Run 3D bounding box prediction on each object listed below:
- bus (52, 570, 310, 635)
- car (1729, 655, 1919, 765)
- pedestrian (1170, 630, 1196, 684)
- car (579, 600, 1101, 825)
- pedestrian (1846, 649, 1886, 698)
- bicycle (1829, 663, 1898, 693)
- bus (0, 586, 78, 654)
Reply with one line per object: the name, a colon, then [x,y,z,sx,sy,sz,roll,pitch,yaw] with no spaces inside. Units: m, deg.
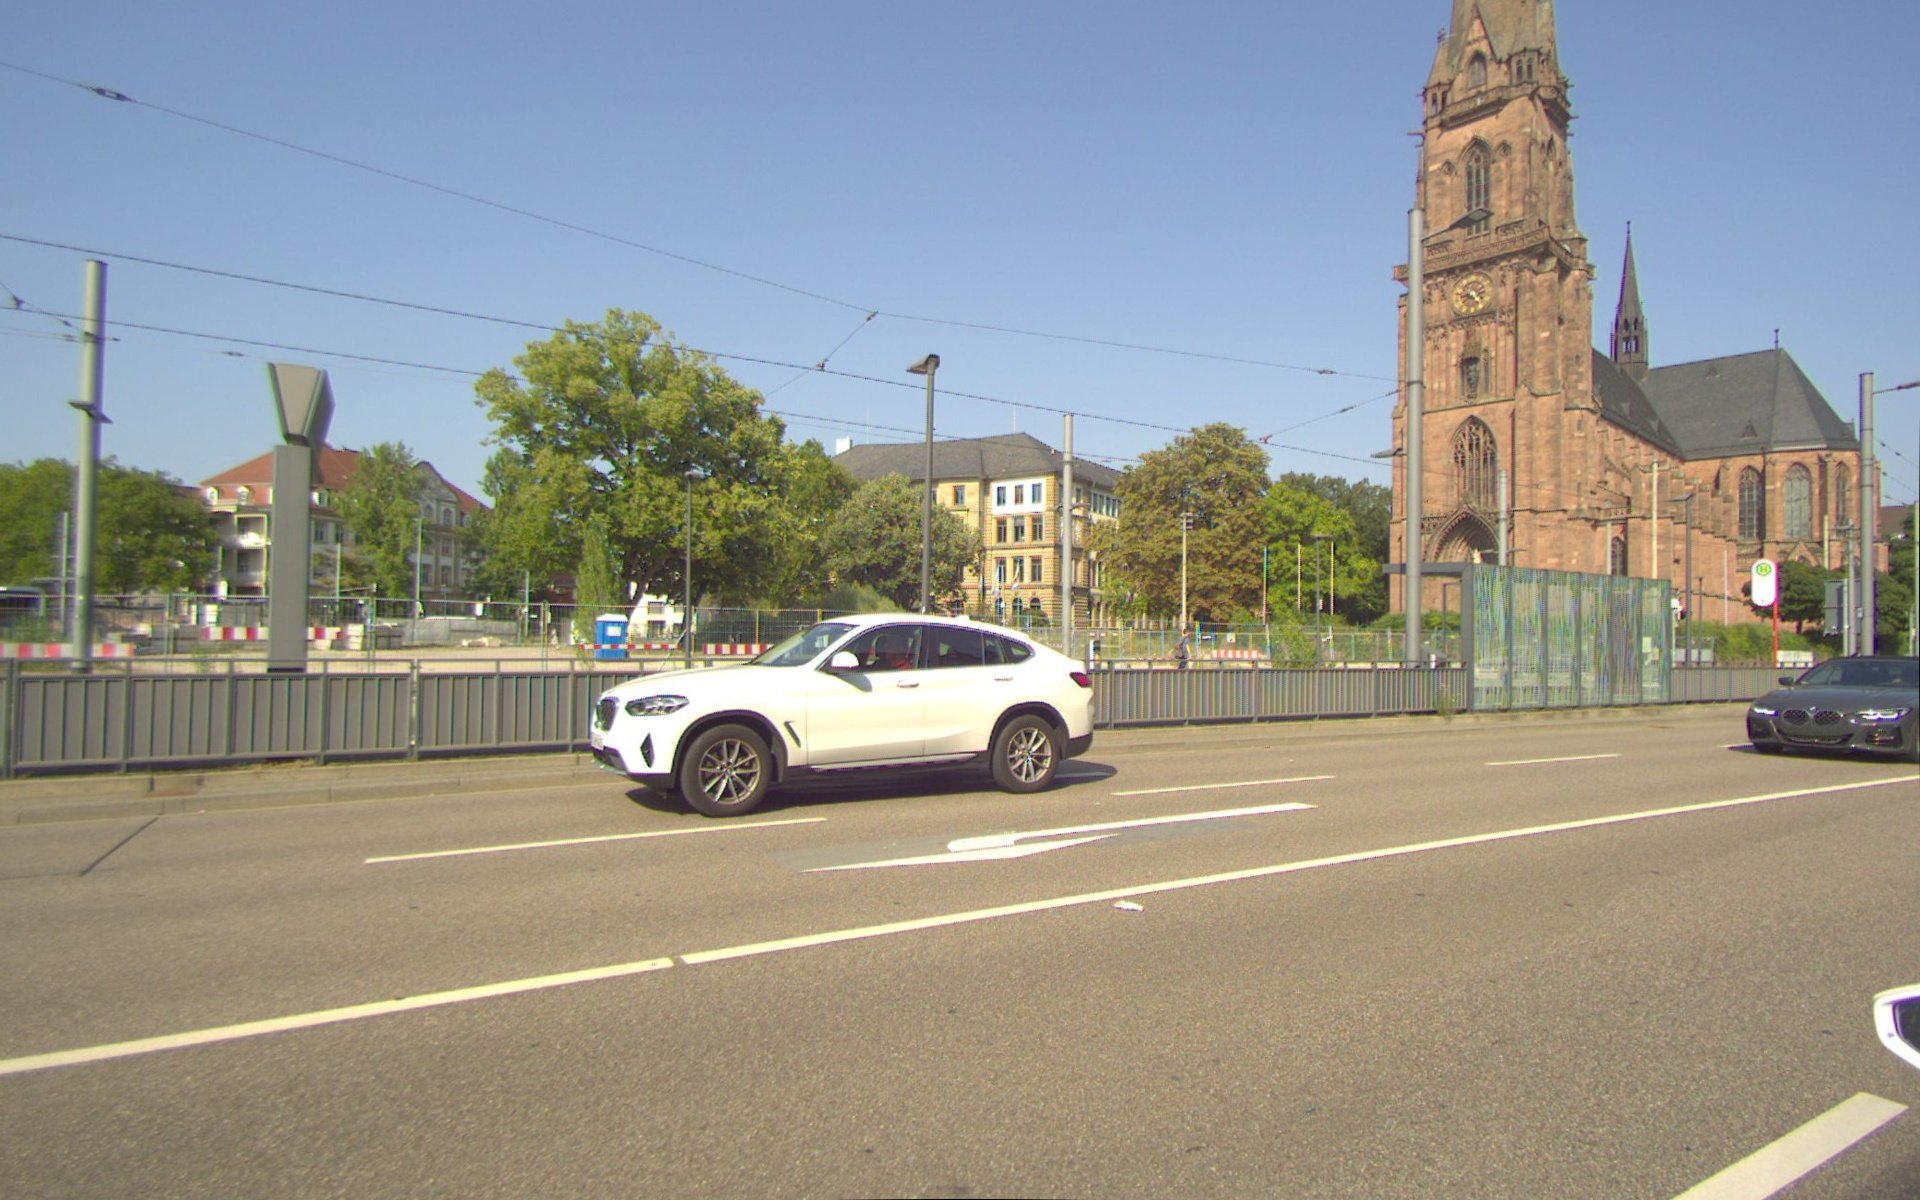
bus: [-46.688,0.373,61.224,3.160,3.463,13.327,0,-2,13]
car: [12.968,1.463,14.271,4.469,1.348,1.705,2,-4,-31]
pedestrian: [7.139,1.819,32.174,0.657,1.723,0.514,2,-2,-31]
car: [-0.981,0.926,9.201,4.453,1.632,1.705,2,-4,-31]
pedestrian: [32.032,2.575,35.503,0.595,1.701,0.912,2,-2,-31]
bicycle: [31.977,2.754,35.558,0.474,0.991,1.749,2,-2,-31]
bus: [-47.972,0.821,45.115,3.159,3.220,13.327,0,-2,11]
